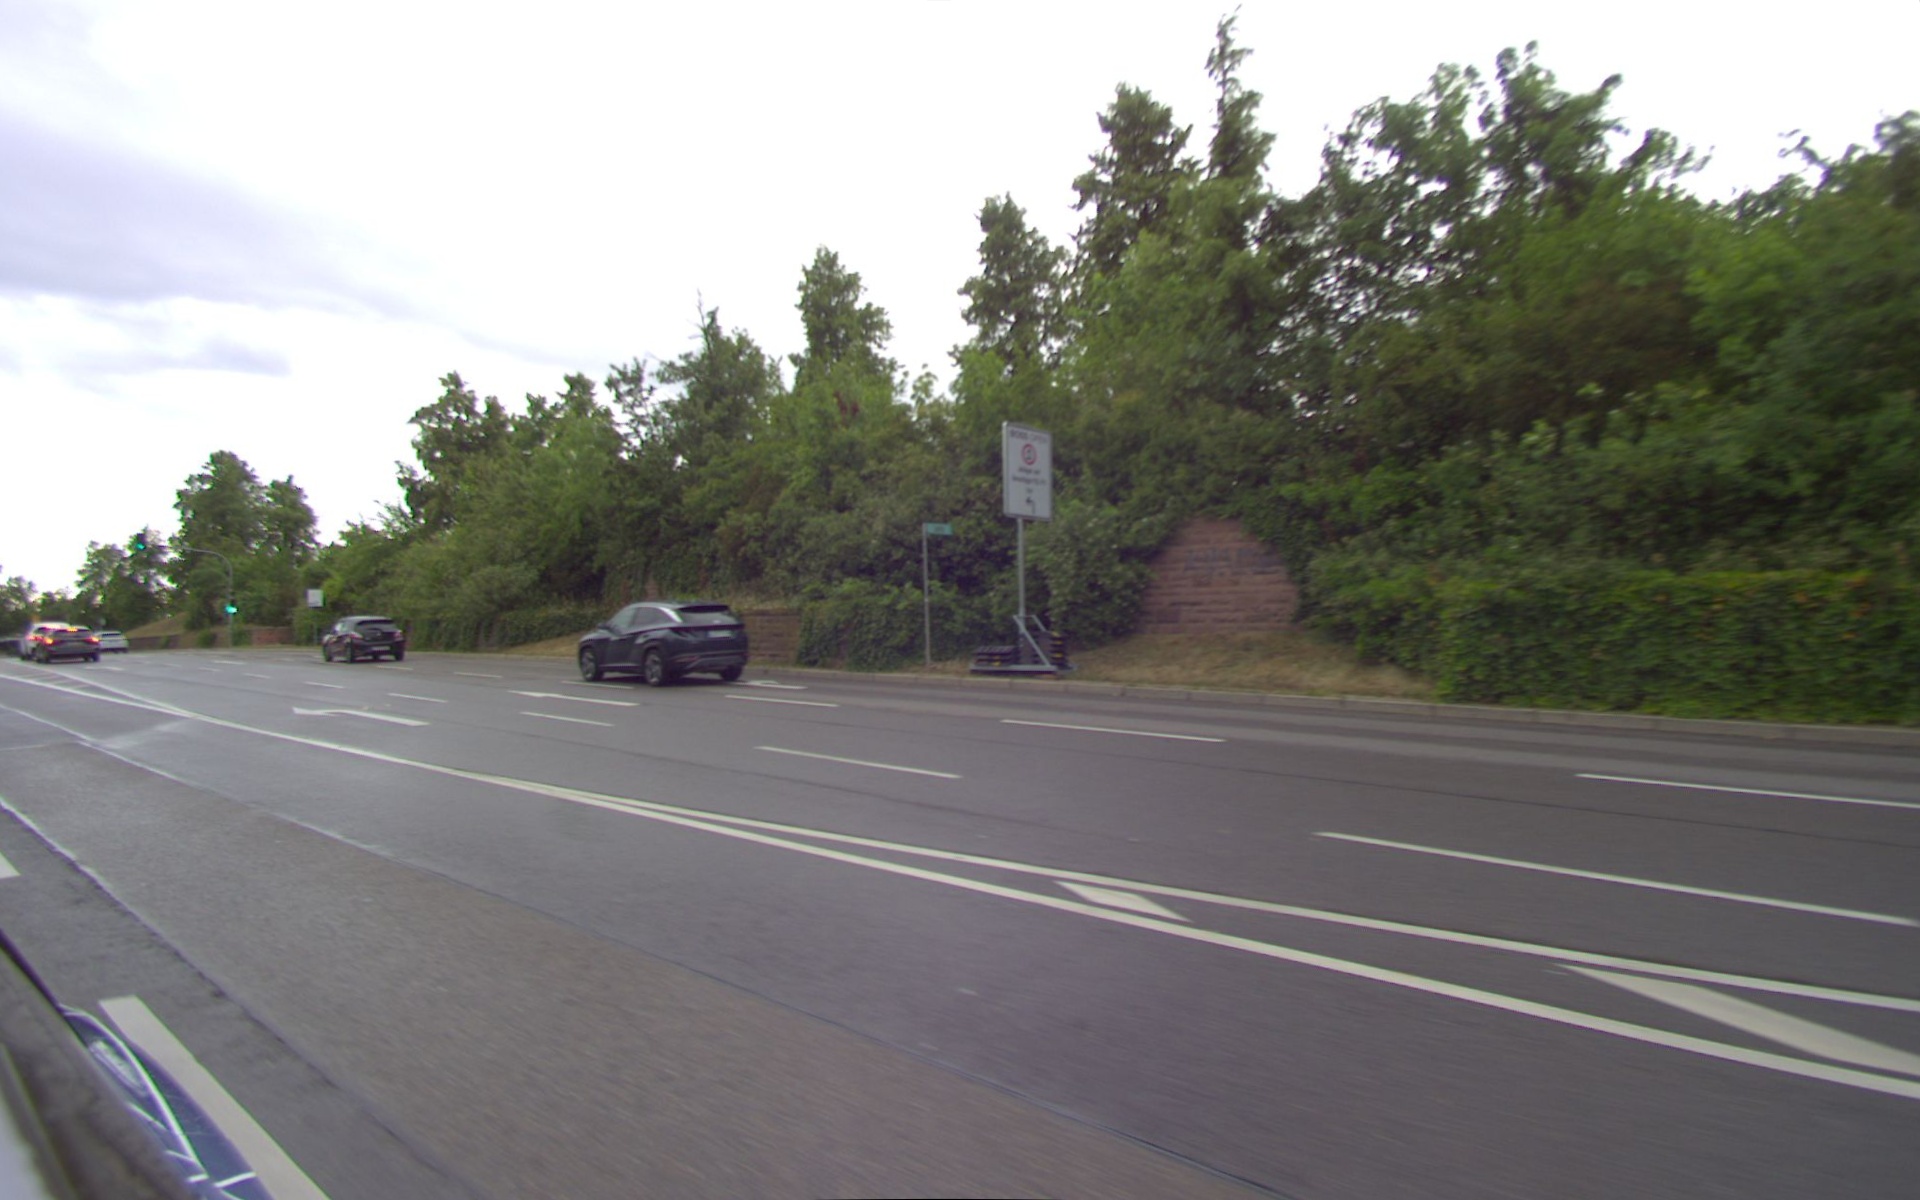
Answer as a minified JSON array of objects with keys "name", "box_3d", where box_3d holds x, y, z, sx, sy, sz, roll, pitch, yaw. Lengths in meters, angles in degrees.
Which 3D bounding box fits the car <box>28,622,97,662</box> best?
[{"name":"car","box_3d":[-36.873,1.710,41.566,3.997,1.478,1.758,-2,-1,43]}]

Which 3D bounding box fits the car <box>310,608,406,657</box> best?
[{"name":"car","box_3d":[-19.735,1.050,33.141,3.861,1.478,1.657,-2,0,43]}]

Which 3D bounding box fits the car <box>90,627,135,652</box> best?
[{"name":"car","box_3d":[-60.790,2.806,72.579,4.448,1.668,1.866,-2,-1,42]}]

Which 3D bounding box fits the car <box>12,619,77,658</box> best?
[{"name":"car","box_3d":[-42.744,1.772,47.222,4.450,1.668,1.865,-2,-1,43]}]

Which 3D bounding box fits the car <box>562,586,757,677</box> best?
[{"name":"car","box_3d":[-6.148,0.608,20.419,4.428,1.618,1.780,-2,0,44]}]
